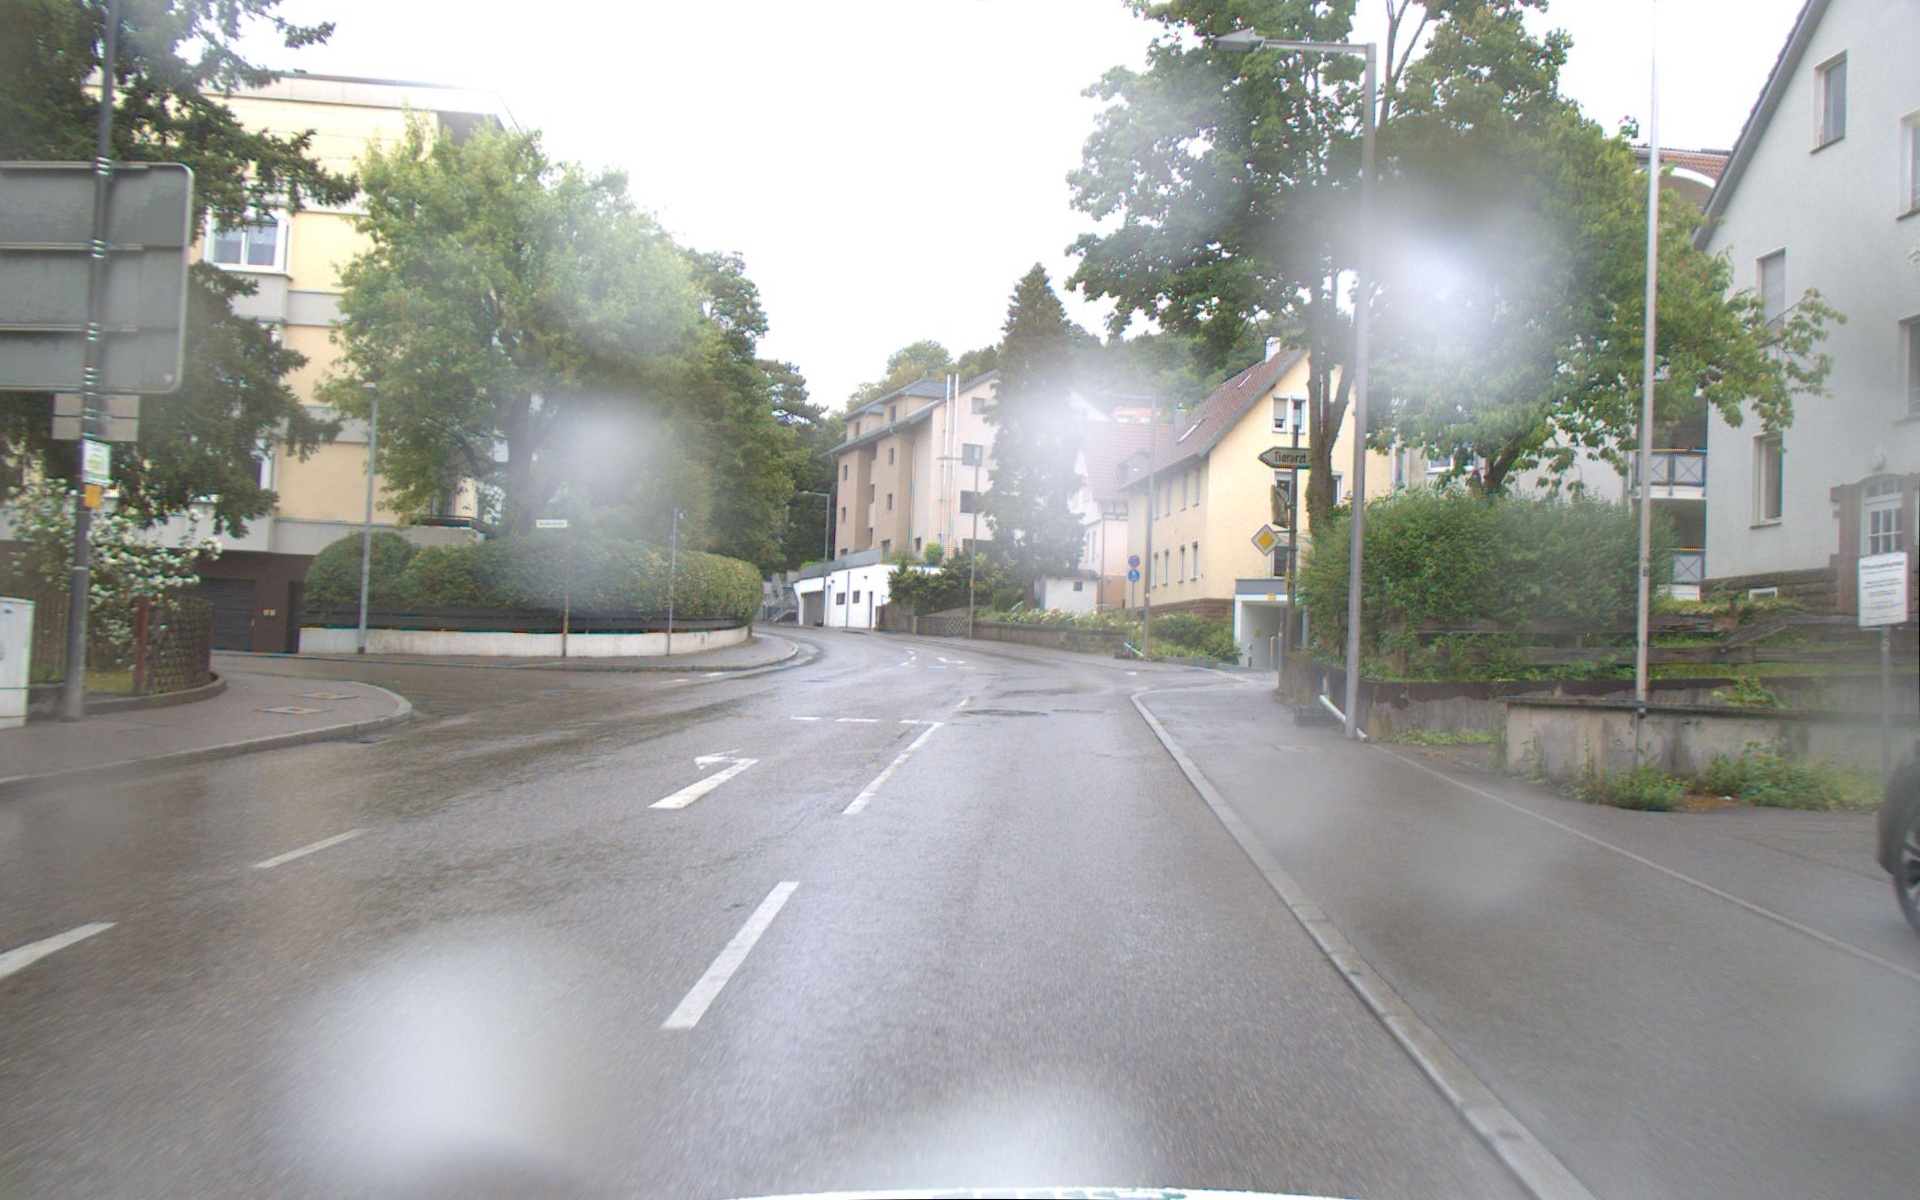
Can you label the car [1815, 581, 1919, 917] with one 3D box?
[{"bbox_3d":[5.534,0.772,6.418,1.745,1.597,4.725,4,0,-2],"label":"car"}]
